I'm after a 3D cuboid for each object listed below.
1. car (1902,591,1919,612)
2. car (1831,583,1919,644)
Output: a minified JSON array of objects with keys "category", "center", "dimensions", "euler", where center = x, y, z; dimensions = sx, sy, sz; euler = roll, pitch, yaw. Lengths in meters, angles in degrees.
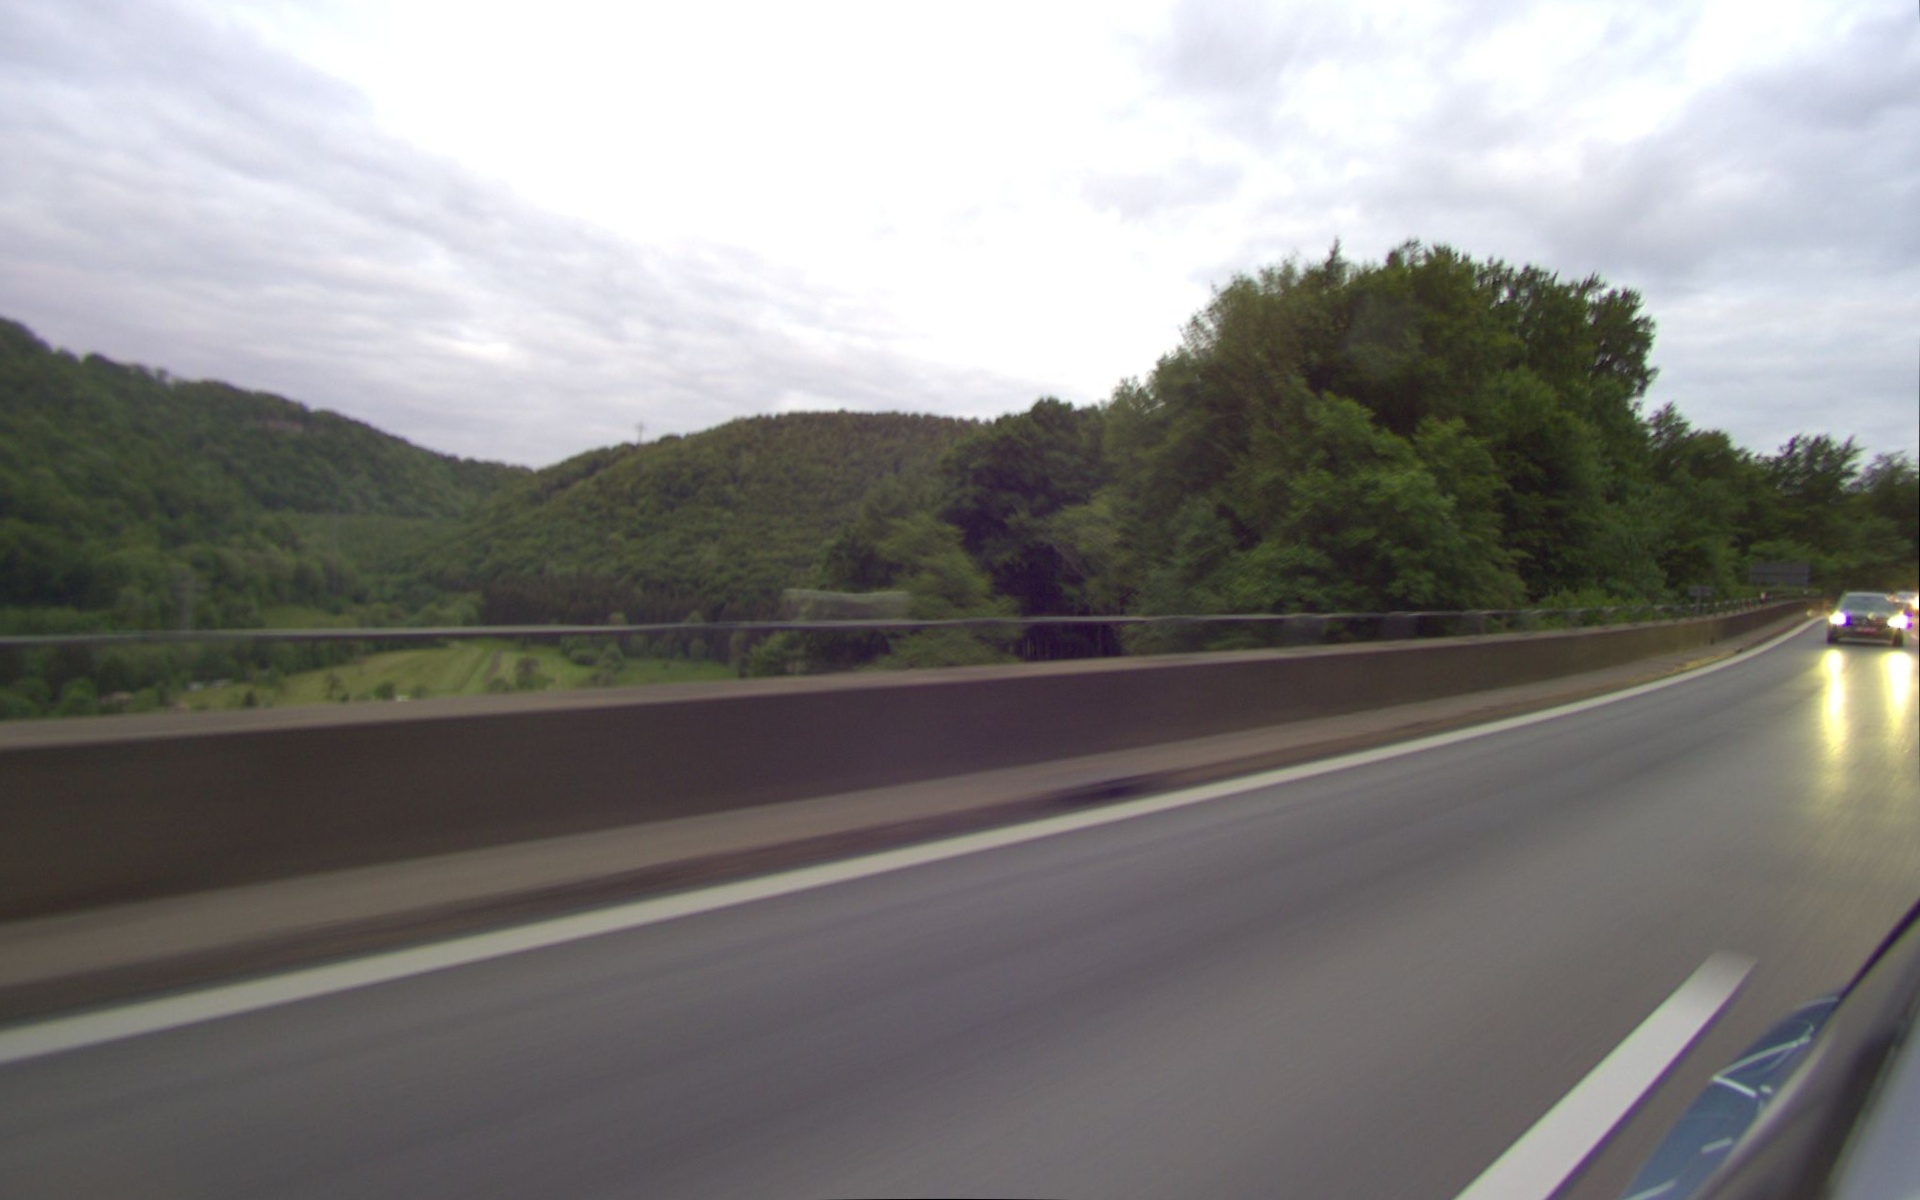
[{"category":"car","center":[81.290,0.181,85.605],"dimensions":[3.933,1.637,1.997],"euler":[0,5,-43]},{"category":"car","center":[29.393,0.362,32.381],"dimensions":[1.995,1.659,3.937],"euler":[5,5,44]}]
